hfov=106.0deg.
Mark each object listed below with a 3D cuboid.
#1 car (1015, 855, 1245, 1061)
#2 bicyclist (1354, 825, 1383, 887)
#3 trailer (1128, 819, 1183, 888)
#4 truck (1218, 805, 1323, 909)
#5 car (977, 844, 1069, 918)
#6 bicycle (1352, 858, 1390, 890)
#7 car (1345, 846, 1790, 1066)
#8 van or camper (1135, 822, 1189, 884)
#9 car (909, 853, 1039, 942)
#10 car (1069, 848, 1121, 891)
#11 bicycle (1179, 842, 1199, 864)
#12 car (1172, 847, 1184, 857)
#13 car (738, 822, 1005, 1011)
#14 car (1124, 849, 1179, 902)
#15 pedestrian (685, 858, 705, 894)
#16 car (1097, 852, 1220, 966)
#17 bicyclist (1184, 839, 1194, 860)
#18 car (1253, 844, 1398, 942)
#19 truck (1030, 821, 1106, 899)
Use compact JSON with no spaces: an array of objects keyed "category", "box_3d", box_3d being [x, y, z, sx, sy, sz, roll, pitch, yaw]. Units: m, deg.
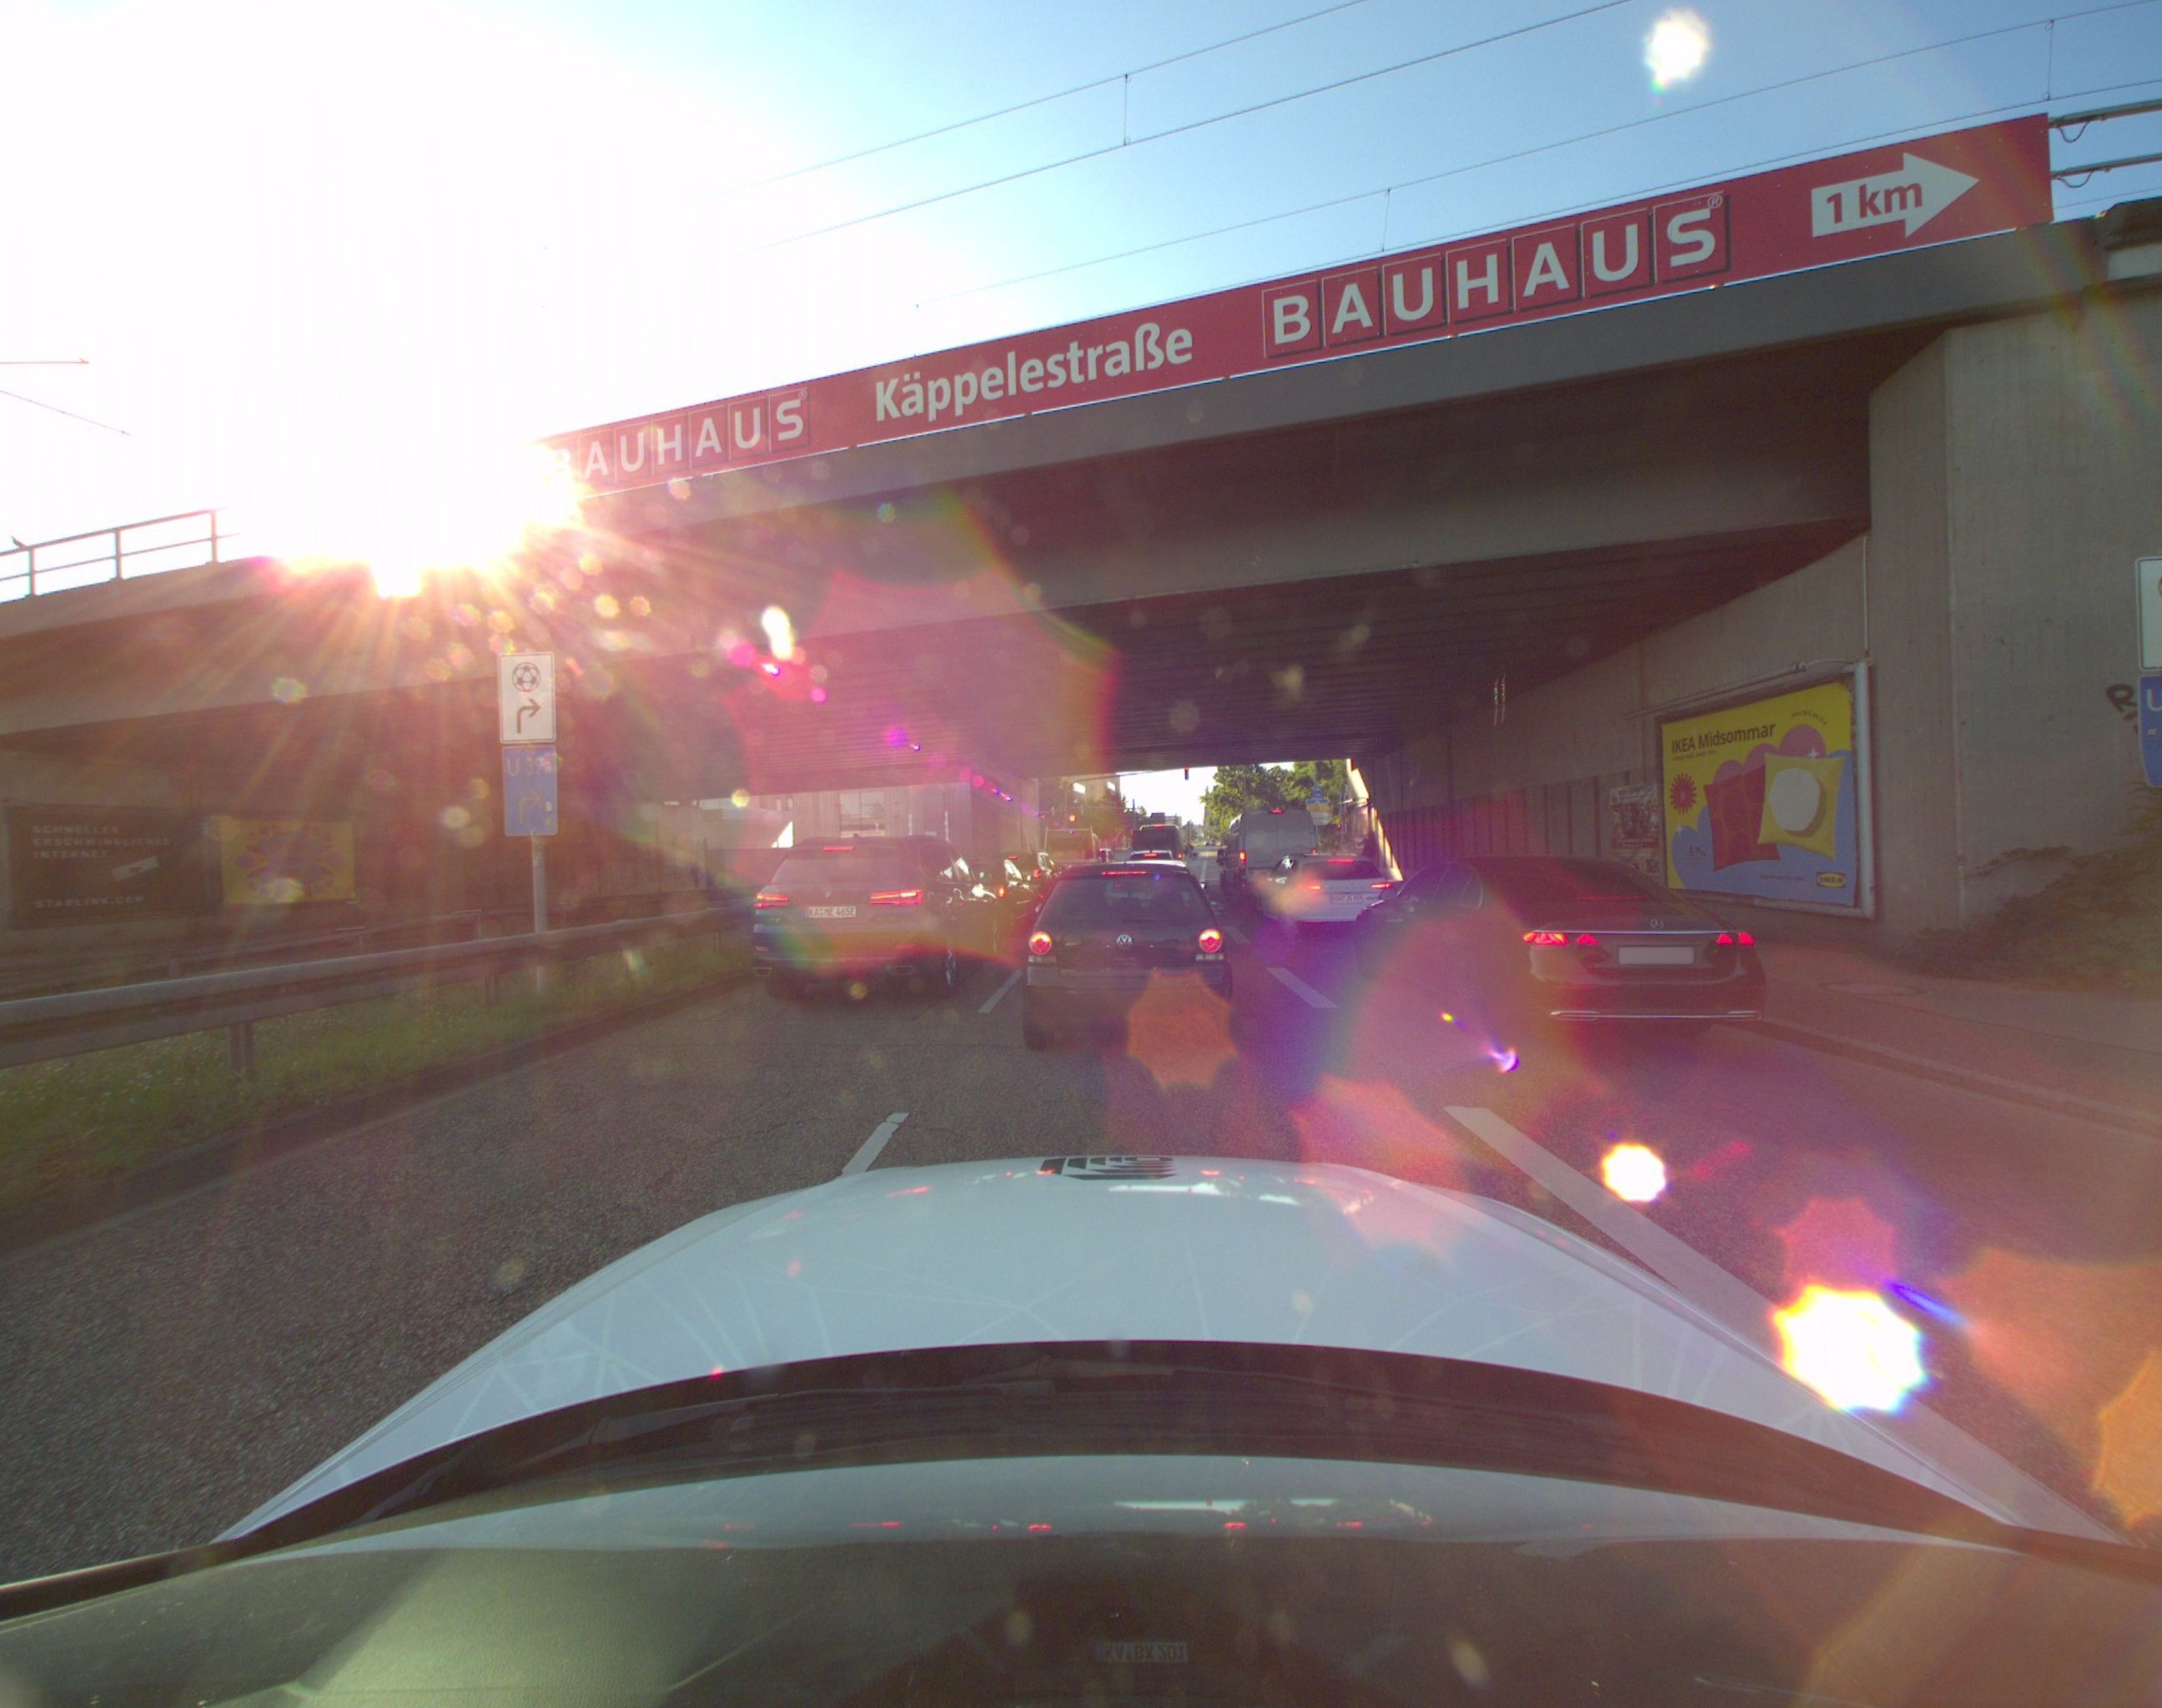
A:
[{"category":"car","box_3d":[0.399,0.763,7.614,1.576,1.408,3.833,-1,-1,2]},{"category":"bicyclist","box_3d":[9.161,0.067,25.995,0.678,1.907,0.835,-2,-1,8]},{"category":"trailer","box_3d":[2.978,0.010,31.937,1.854,2.465,3.839,-3,-1,7]},{"category":"truck","box_3d":[5.180,0.098,22.897,2.102,2.519,4.406,-3,-1,4]},{"category":"car","box_3d":[-1.503,0.702,22.515,1.833,1.719,4.004,-5,-1,4]},{"category":"bicycle","box_3d":[9.145,0.616,25.792,0.575,0.963,2.893,-2,-1,9]},{"category":"car","box_3d":[4.051,0.677,7.851,1.733,1.454,4.610,-1,1,3]},{"category":"van or camper","box_3d":[3.820,-0.008,37.457,1.981,2.570,5.934,-2,-1,10]},{"category":"car","box_3d":[-2.010,0.800,16.362,1.834,1.440,3.677,-5,-1,3]},{"category":"car","box_3d":[0.727,0.738,39.332,1.983,1.901,4.008,-2,-1,7]},{"category":"bicycle","box_3d":[10.881,-0.109,81.872,1.867,2.013,0.572,-5,-1,8]},{"category":"car","box_3d":[13.765,-0.235,115.331,1.334,1.281,2.894,-5,-1,2]},{"category":"car","box_3d":[-2.205,0.625,9.958,1.821,1.738,4.465,-2,-1,3]},{"category":"car","box_3d":[2.243,0.659,25.686,1.574,1.532,3.838,-1,-1,6]},{"category":"pedestrian","box_3d":[-20.392,1.161,43.023,0.690,1.903,0.666,-2,-1,7]},{"category":"car","box_3d":[1.184,0.741,12.730,1.540,1.423,3.421,-5,0,5]},{"category":"bicyclist","box_3d":[10.896,-0.422,81.846,0.823,2.013,0.684,-5,-1,8]},{"category":"car","box_3d":[4.327,0.657,15.007,1.764,1.495,3.837,-3,-1,5]},{"category":"truck","box_3d":[-0.358,0.235,30.169,2.017,2.557,5.547,-2,-1,6]}]
